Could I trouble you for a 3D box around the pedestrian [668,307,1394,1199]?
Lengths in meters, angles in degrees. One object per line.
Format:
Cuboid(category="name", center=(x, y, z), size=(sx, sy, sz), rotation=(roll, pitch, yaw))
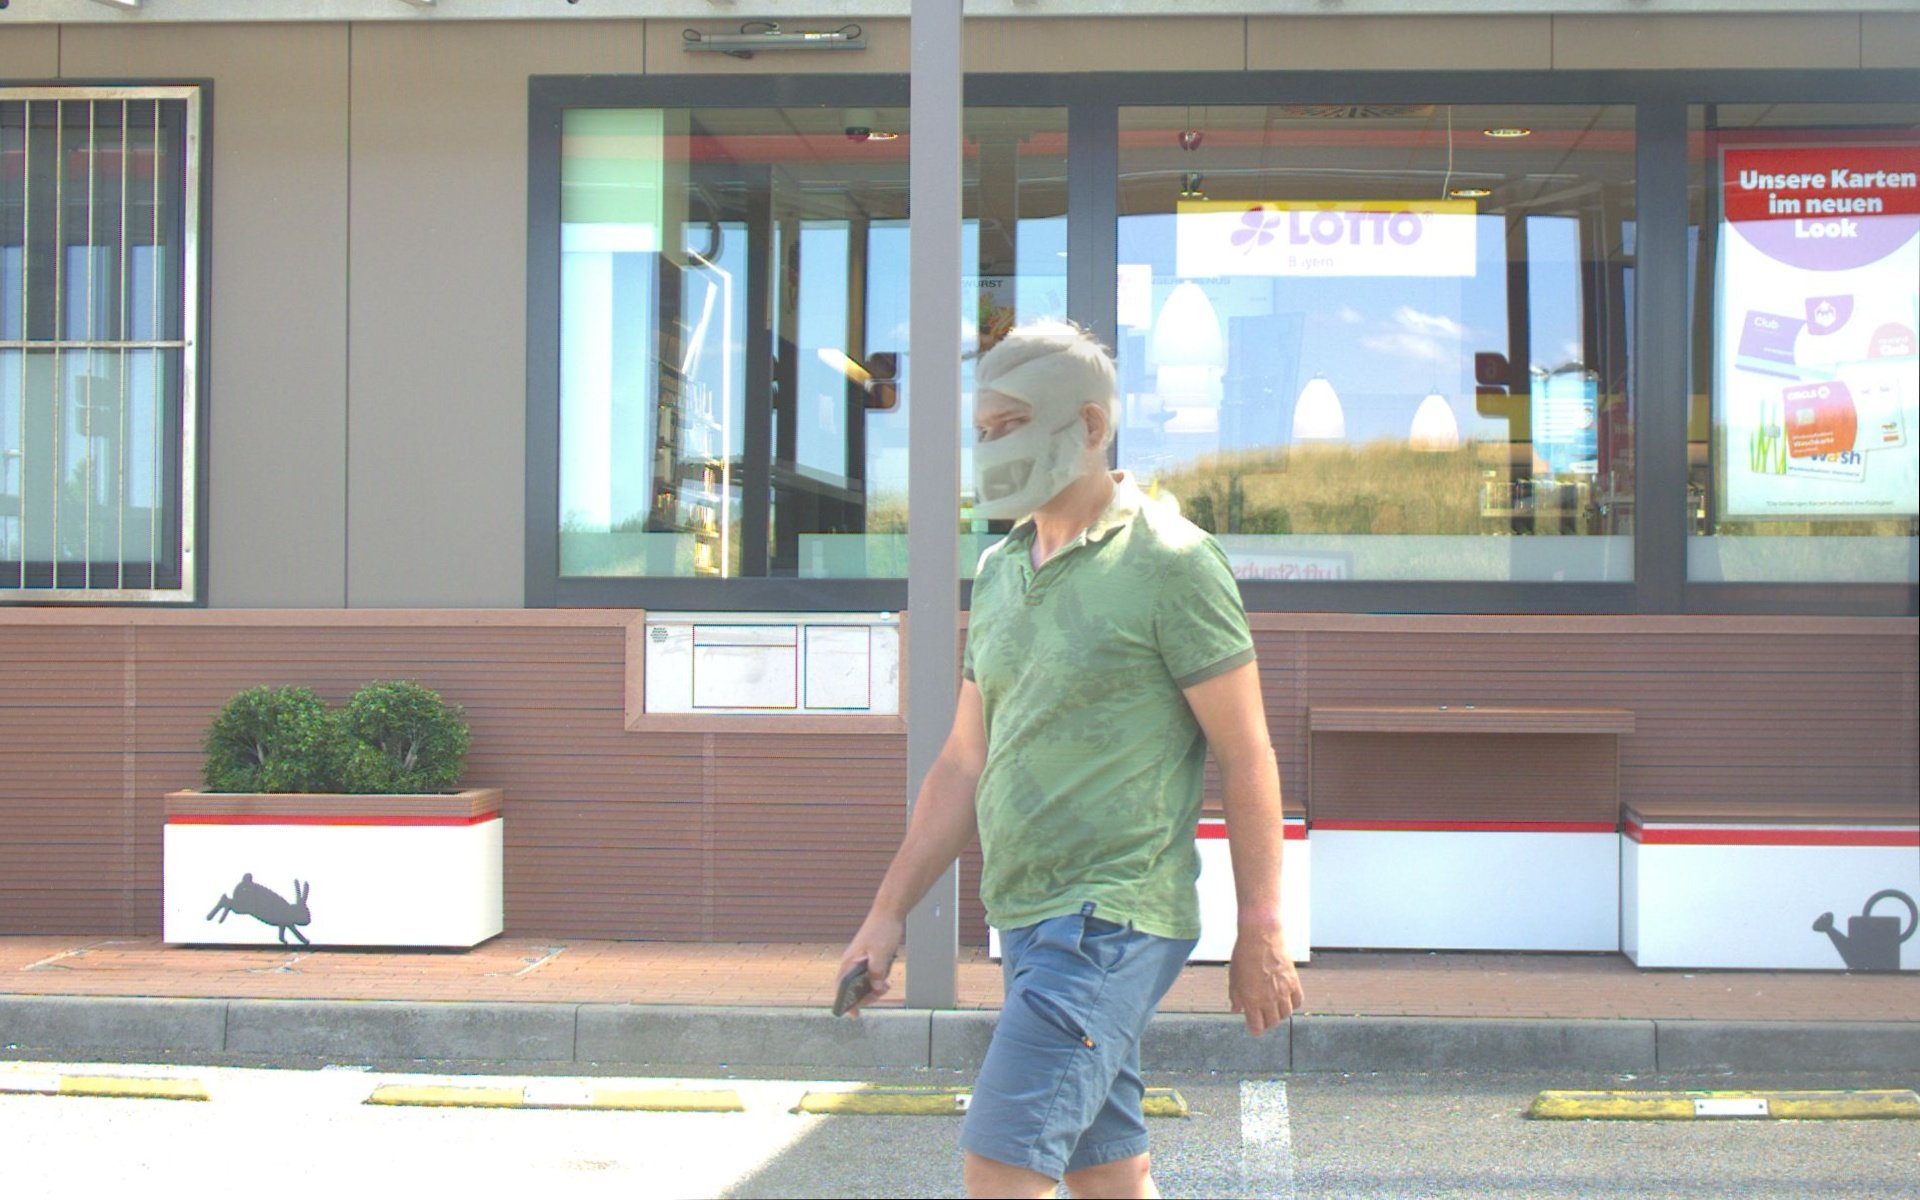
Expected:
Cuboid(category="pedestrian", center=(0.119, 0.509, 5.013), size=(0.702, 1.791, 0.861), rotation=(0, 1, 34))
